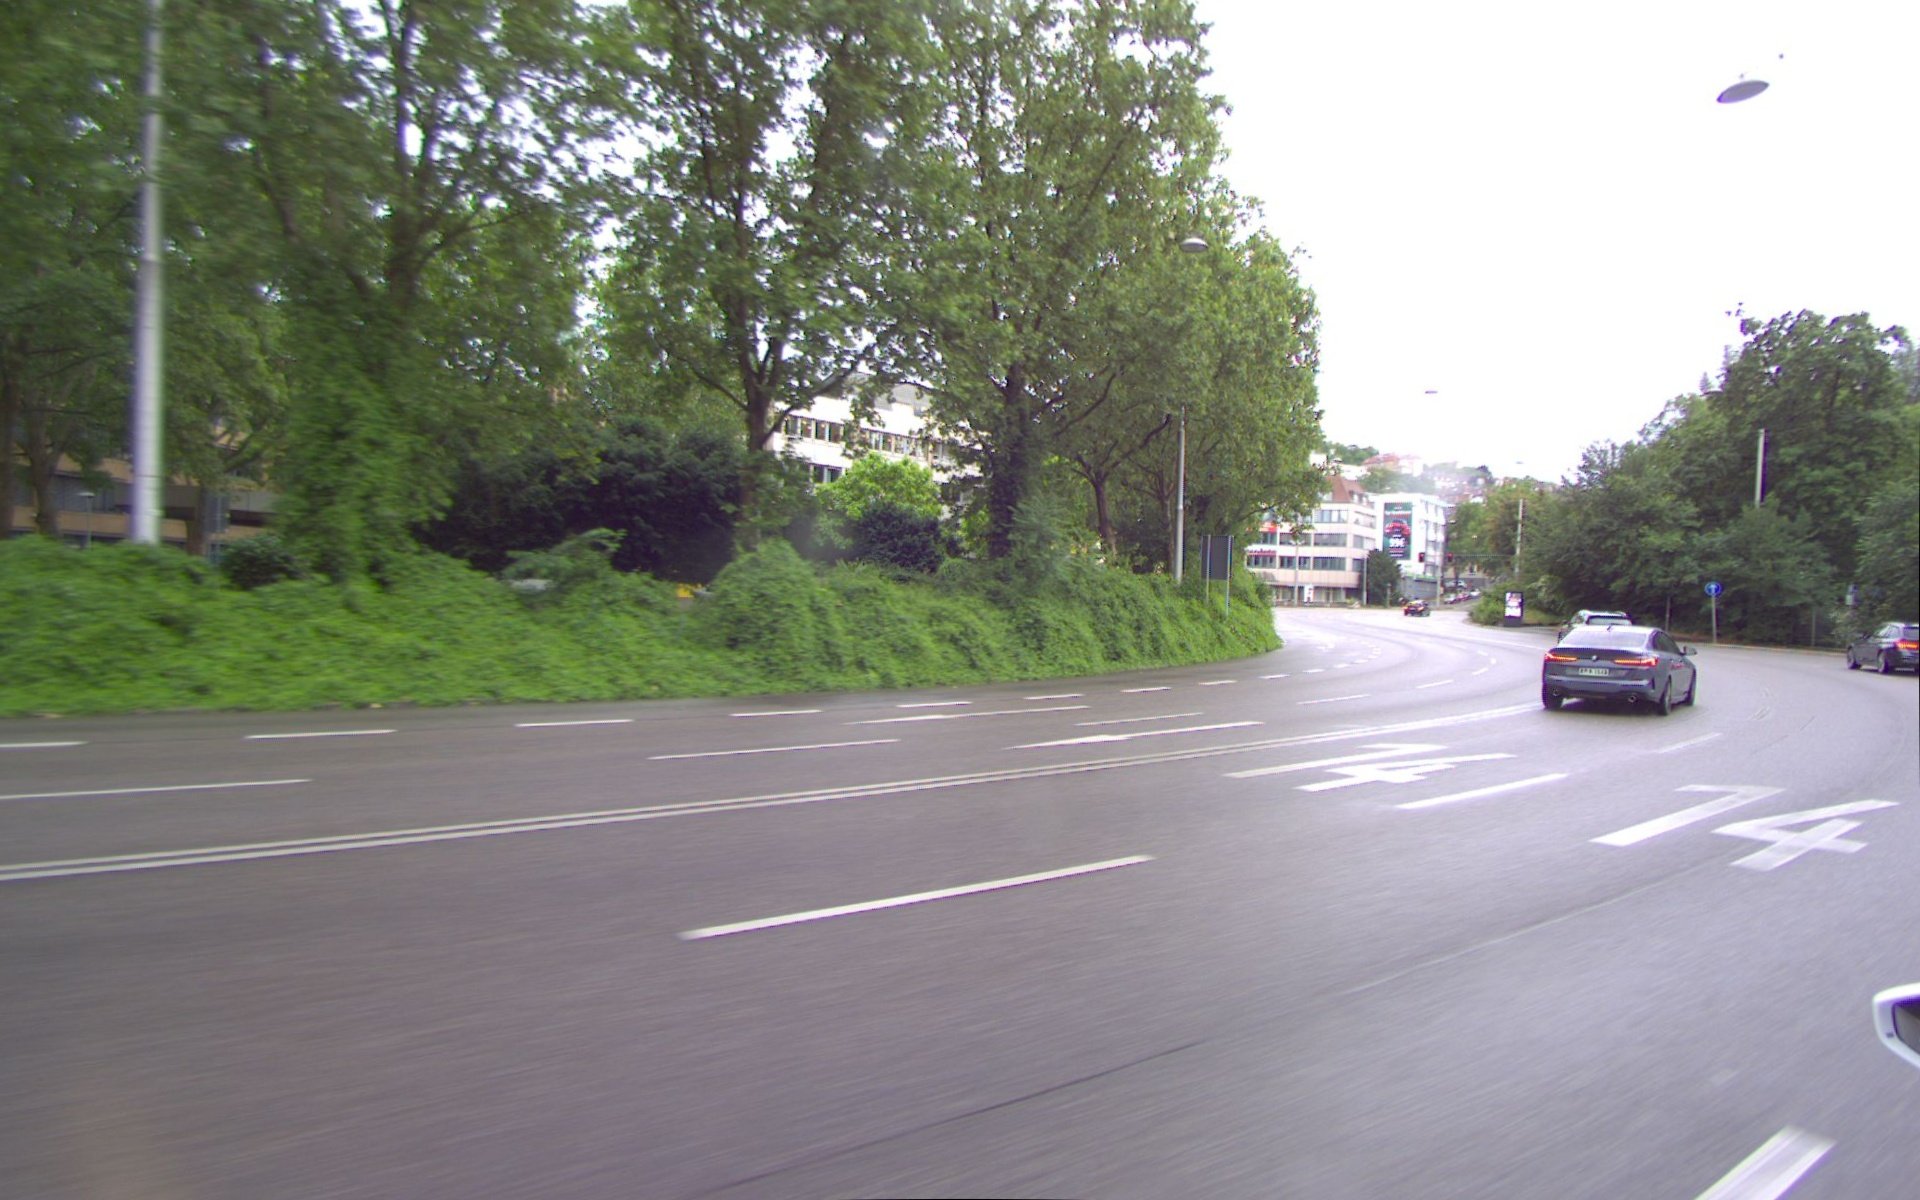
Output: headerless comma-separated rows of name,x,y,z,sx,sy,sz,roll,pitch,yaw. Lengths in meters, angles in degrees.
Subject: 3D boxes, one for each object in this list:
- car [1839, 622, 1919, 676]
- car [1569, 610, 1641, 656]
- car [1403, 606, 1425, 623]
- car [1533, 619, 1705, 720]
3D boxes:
car,27.145,1.451,28.950,1.731,1.451,4.407,0,-3,28
car,23.978,1.175,37.476,1.730,1.607,4.407,0,0,26
car,46.526,1.516,102.825,1.802,1.673,3.994,1,0,28
car,11.689,1.112,17.688,1.648,1.434,4.510,2,2,45
